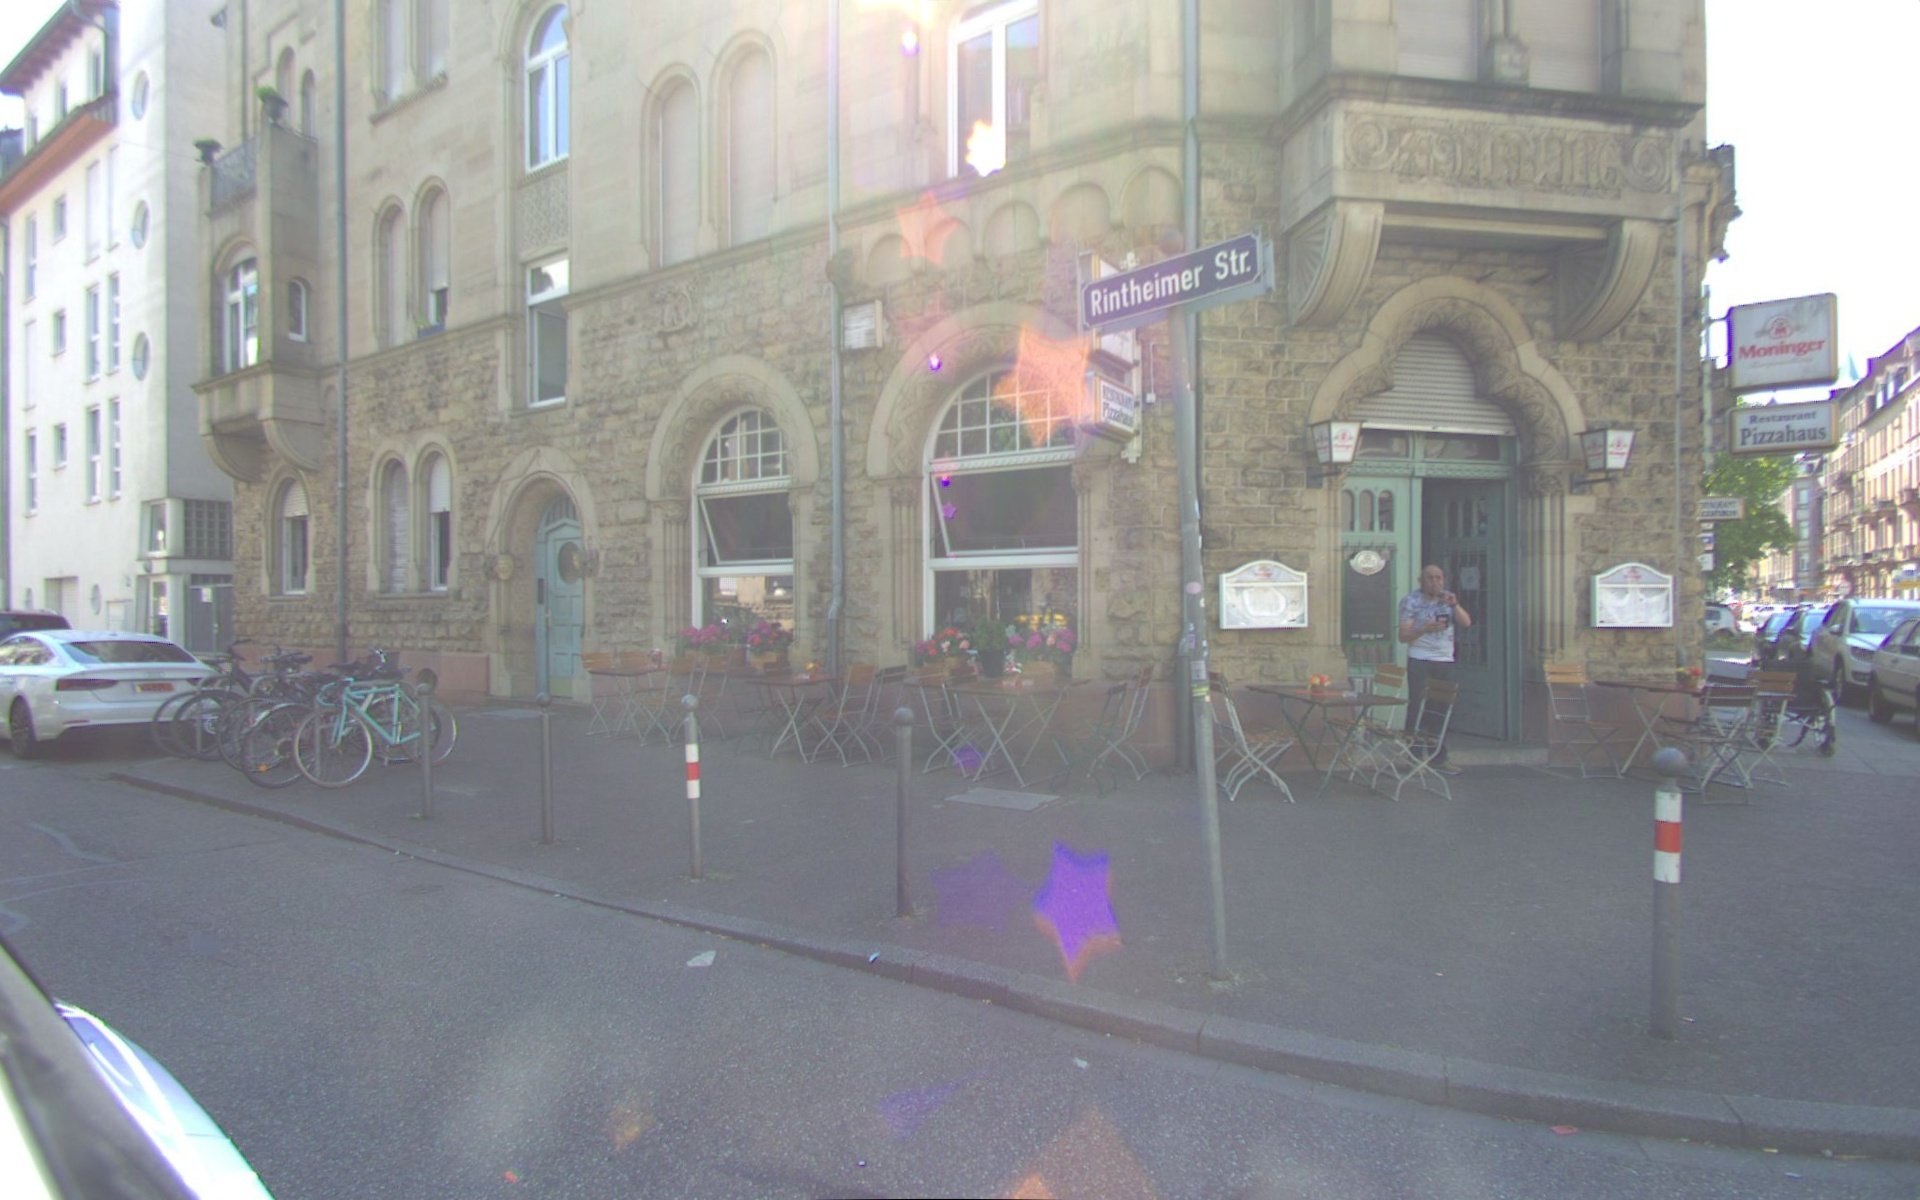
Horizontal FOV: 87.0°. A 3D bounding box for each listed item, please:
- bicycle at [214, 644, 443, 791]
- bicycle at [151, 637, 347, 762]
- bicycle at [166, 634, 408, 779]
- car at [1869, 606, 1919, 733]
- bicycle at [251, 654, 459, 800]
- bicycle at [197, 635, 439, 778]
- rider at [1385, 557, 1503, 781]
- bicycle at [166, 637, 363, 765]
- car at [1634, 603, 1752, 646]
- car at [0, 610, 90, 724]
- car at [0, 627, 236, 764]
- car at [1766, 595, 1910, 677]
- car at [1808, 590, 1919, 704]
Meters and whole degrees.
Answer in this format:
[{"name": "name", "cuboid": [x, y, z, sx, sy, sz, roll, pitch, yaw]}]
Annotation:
[{"name": "bicycle", "cuboid": [-5.476, 0.972, 8.886, 0.412, 1.053, 1.693, 0, 1, 30]}, {"name": "bicycle", "cuboid": [-7.362, 0.989, 10.572, 0.291, 1.108, 1.691, 0, 1, 30]}, {"name": "bicycle", "cuboid": [-6.491, 0.975, 9.896, 0.393, 1.138, 1.958, 0, 2, 30]}, {"name": "car", "cuboid": [11.851, 0.809, 11.421, 1.717, 1.436, 3.803, 1, 0, 32]}, {"name": "bicycle", "cuboid": [-5.104, 1.031, 8.635, 0.366, 1.015, 1.514, -1, 1, 30]}, {"name": "bicycle", "cuboid": [-6.082, 0.955, 9.735, 0.434, 1.138, 1.981, 0, 1, 30]}, {"name": "rider", "cuboid": [3.830, 0.531, 8.033, 0.631, 1.710, 0.542, 0, -1, -11]}, {"name": "bicycle", "cuboid": [-7.093, 0.988, 10.413, 0.291, 1.108, 1.691, 0, 1, 30]}, {"name": "car", "cuboid": [28.443, 0.937, 39.384, 3.630, 1.570, 1.606, -1, -1, 35]}, {"name": "car", "cuboid": [-15.053, 0.952, 15.377, 4.040, 1.595, 1.659, 0, -3, 33]}, {"name": "car", "cuboid": [-10.789, 1.034, 12.246, 4.500, 1.363, 1.688, 0, -3, 32]}, {"name": "car", "cuboid": [17.403, 0.678, 20.220, 1.633, 1.456, 3.513, 1, 0, 32]}, {"name": "car", "cuboid": [14.682, 0.710, 15.762, 1.717, 1.594, 3.803, 1, 0, 32]}]
